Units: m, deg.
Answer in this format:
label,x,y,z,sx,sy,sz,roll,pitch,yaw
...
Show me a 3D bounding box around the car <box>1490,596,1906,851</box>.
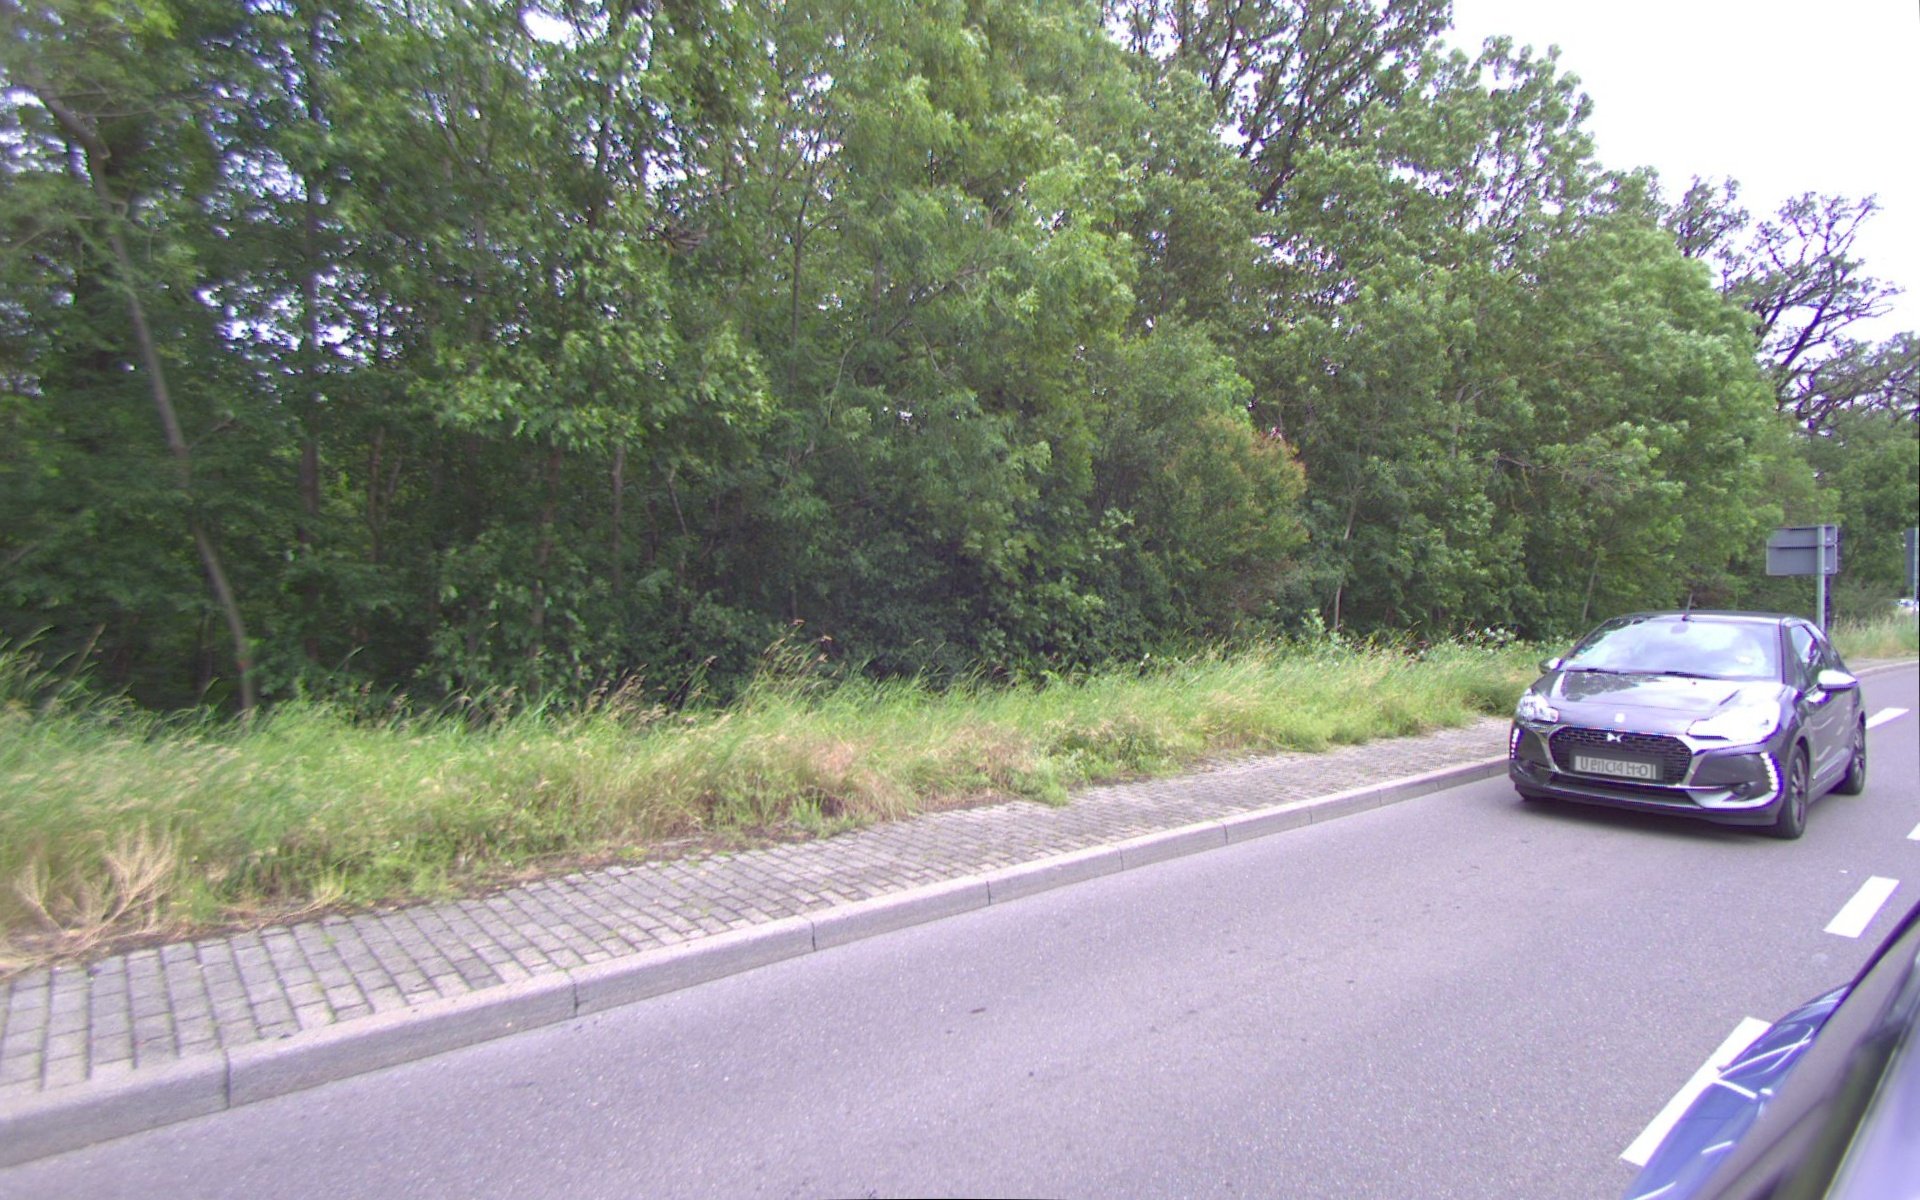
label,x,y,z,sx,sy,sz,roll,pitch,yaw
car,5.807,0.717,7.812,3.786,1.476,1.729,0,0,-40
